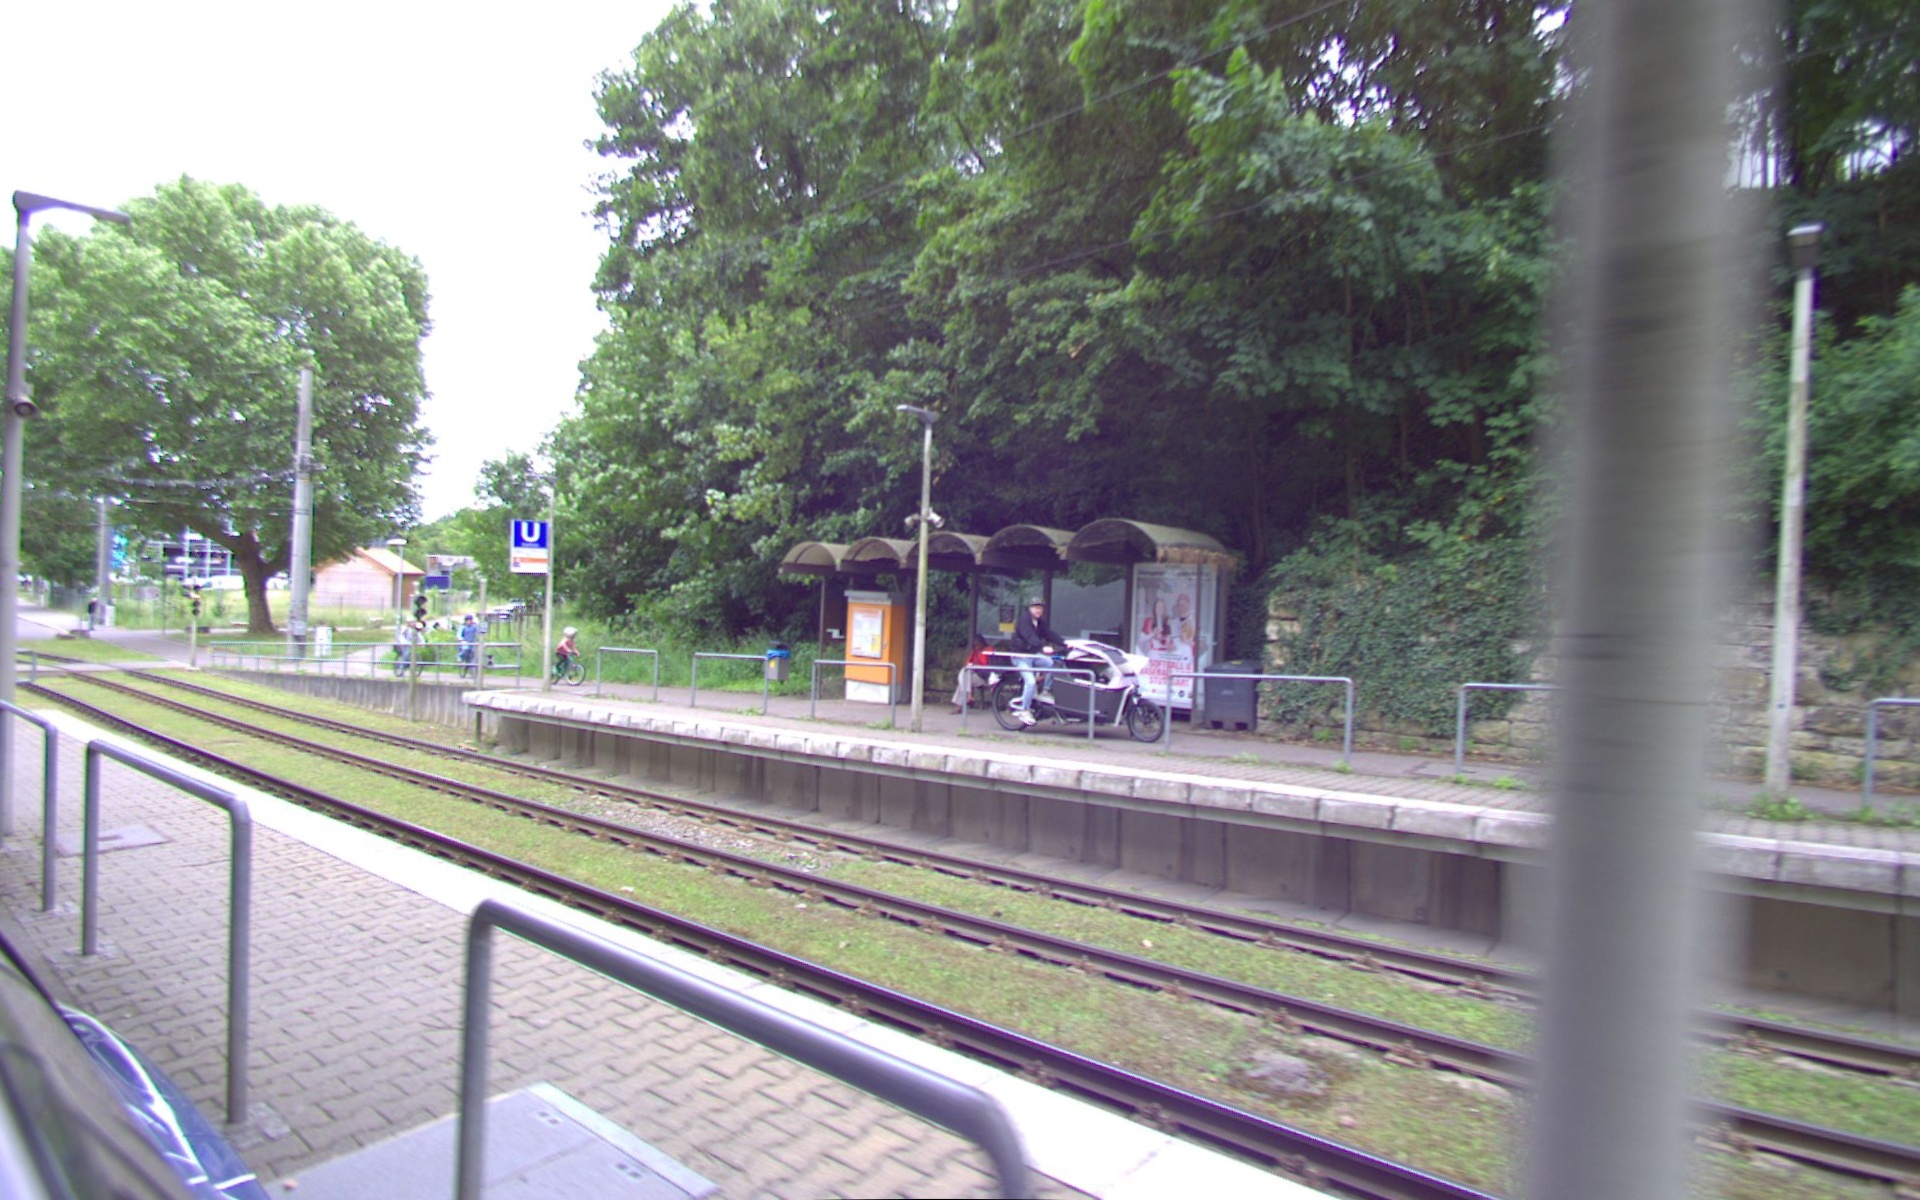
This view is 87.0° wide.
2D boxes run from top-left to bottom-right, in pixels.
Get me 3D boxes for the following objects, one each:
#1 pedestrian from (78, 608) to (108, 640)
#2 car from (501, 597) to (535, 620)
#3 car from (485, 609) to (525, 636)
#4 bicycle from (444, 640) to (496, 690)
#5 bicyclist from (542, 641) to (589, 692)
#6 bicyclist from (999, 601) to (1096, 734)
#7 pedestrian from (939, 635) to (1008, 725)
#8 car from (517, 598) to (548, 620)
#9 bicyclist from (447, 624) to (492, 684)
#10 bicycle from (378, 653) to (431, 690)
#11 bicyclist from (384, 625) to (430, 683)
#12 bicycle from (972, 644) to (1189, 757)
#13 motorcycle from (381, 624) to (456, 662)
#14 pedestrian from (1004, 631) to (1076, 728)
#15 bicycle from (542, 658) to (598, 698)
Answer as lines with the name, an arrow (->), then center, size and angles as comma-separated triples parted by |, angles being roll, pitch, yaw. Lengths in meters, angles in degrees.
pedestrian -> -47.244, 1.289, 55.171 | 1.099, 1.747, 0.696 | 1, 0, -27
car -> -33.993, 0.652, 77.908 | 1.966, 1.696, 4.012 | 1, 0, -18
car -> -29.829, 1.474, 66.432 | 1.966, 1.696, 4.012 | 1, 0, -18
bicycle -> -12.316, 1.624, 25.416 | 1.939, 1.197, 0.458 | -2, -2, 41
bicyclist -> -8.520, 1.421, 21.842 | 0.744, 1.061, 0.682 | -2, -2, 41
bicyclist -> 1.132, 0.853, 13.169 | 1.033, 1.641, 0.696 | -2, -1, 44
pedestrian -> 0.218, 1.241, 15.981 | 0.772, 1.333, 0.813 | 0, 0, 35
car -> -34.971, 0.720, 82.798 | 1.966, 1.696, 4.012 | 1, 0, -18
bicyclist -> -12.281, 1.335, 25.328 | 0.839, 1.454, 0.722 | -2, -2, 40
bicycle -> -14.406, 1.848, 26.233 | 1.840, 0.932, 0.473 | -3, -2, 36
bicyclist -> -14.289, 1.383, 26.140 | 0.906, 1.442, 0.738 | -3, -2, 38
bicycle -> 1.452, 1.202, 12.859 | 2.868, 1.249, 0.742 | -2, -1, 45
motorcycle -> -23.984, 1.890, 44.937 | 1.247, 1.564, 3.046 | 0, 0, 14
pedestrian -> 1.210, 1.167, 15.227 | 0.772, 1.385, 0.813 | 0, 0, 35
bicycle -> -8.362, 1.652, 21.665 | 1.564, 0.787, 0.445 | -2, -2, 42
